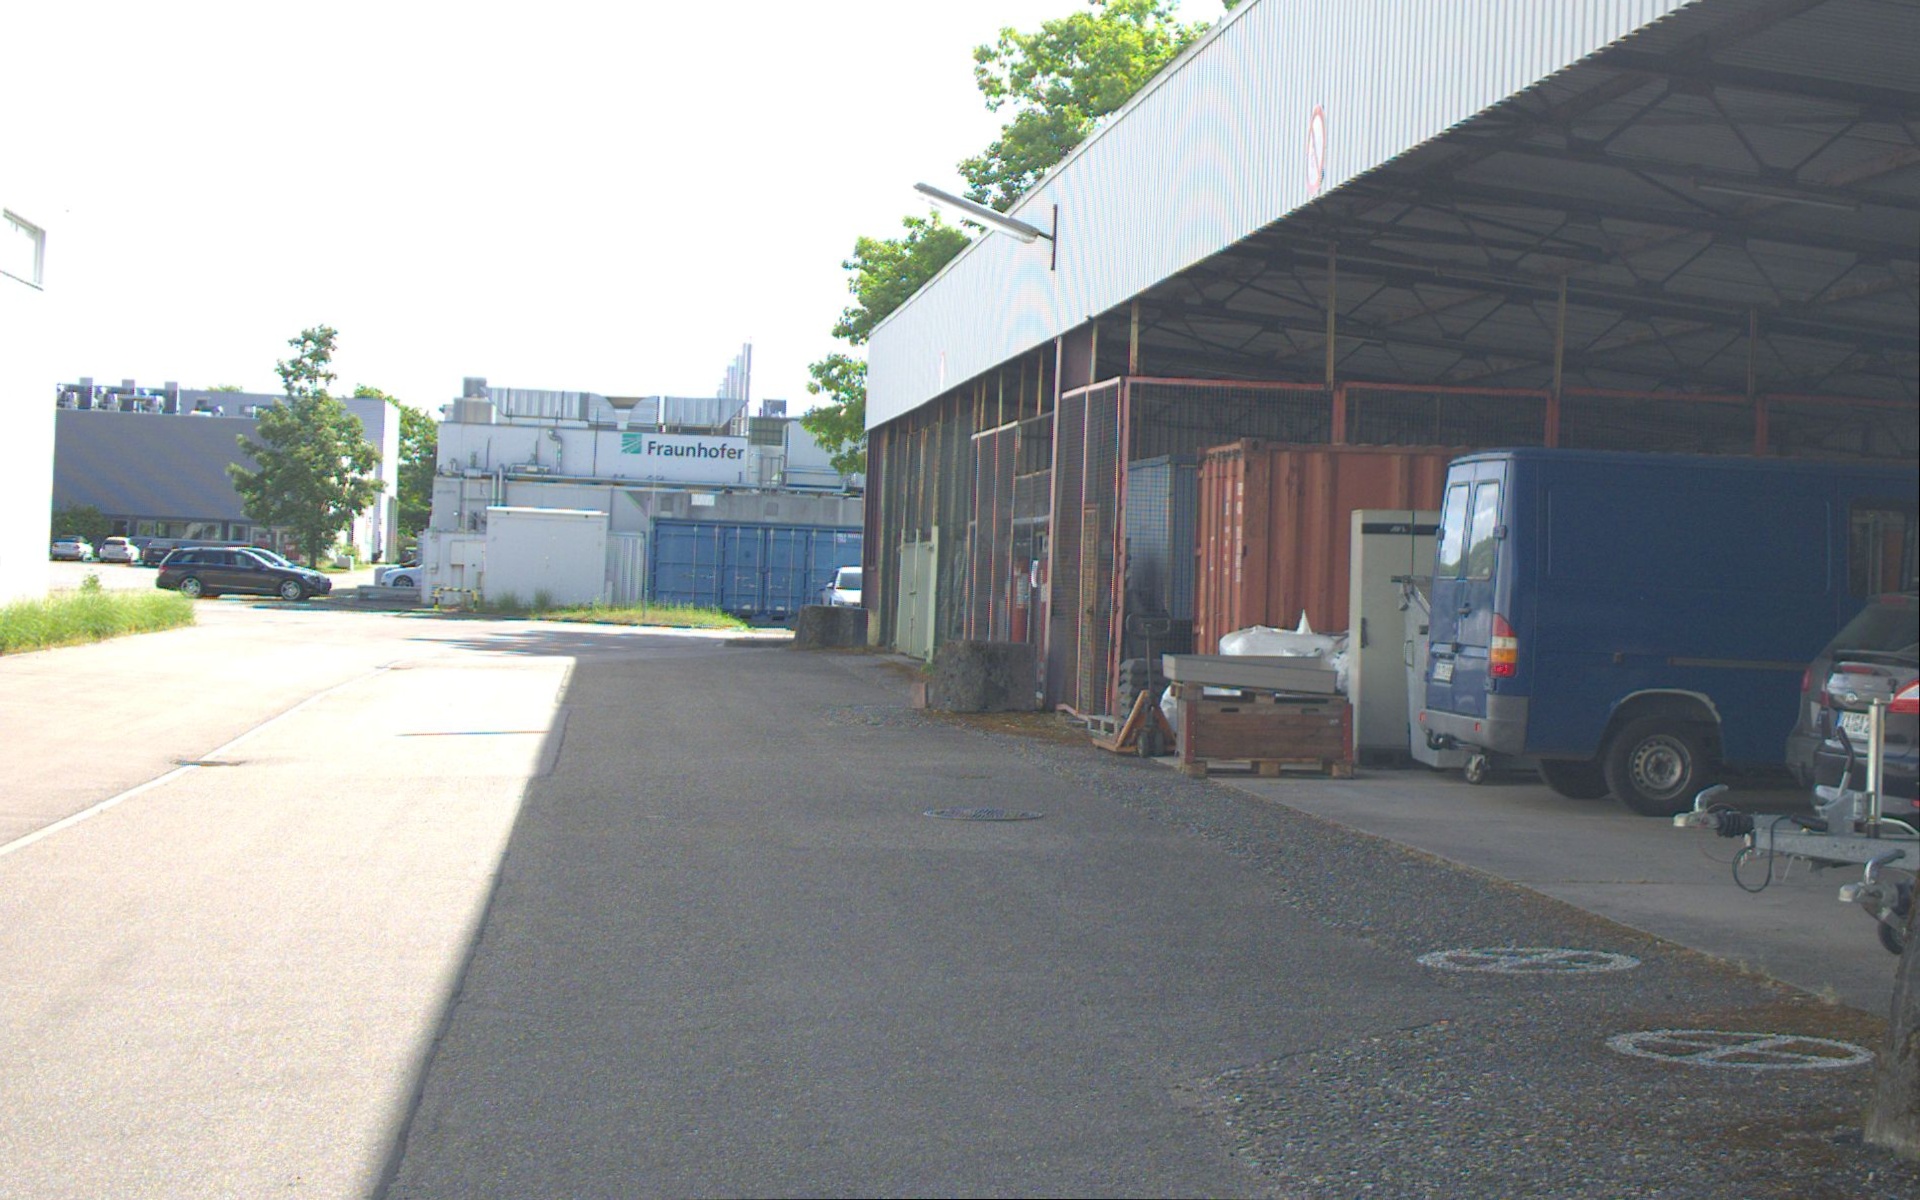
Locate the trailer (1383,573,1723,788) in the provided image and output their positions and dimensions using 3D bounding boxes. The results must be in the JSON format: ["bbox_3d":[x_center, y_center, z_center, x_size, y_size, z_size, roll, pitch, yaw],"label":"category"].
[{"bbox_3d":[4.291,0.571,25.096,2.094,1.457,1.641,2,0,-3],"label":"trailer"}]

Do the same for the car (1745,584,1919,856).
[{"bbox_3d":[6.763,0.663,19.511,4.106,1.449,1.851,1,0,-6],"label":"car"}]

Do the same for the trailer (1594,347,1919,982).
[{"bbox_3d":[4.990,0.252,13.644,4.541,2.327,1.689,1,1,-5],"label":"trailer"}]

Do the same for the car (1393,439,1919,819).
[{"bbox_3d":[5.688,0.214,22.615,5.215,2.289,2.084,2,0,-7],"label":"car"}]

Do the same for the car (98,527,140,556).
[{"bbox_3d":[-47.000,-3.269,192.233,1.877,1.532,4.036,1,0,-8],"label":"car"}]

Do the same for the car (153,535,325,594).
[{"bbox_3d":[-20.403,-0.993,97.396,4.529,1.438,1.987,2,-1,-6],"label":"car"}]

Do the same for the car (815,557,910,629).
[{"bbox_3d":[-2.481,-0.191,86.549,1.980,1.588,4.341,3,2,-6],"label":"car"}]

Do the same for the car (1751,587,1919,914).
[{"bbox_3d":[6.203,0.686,16.381,4.343,1.428,1.865,1,0,-9],"label":"car"}]

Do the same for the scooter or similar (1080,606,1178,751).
[{"bbox_3d":[1.368,0.626,27.997,0.520,1.131,1.593,2,0,-6],"label":"scooter or similar"}]

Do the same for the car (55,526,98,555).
[{"bbox_3d":[-49.292,-3.298,191.778,1.877,1.532,4.036,1,0,-8],"label":"car"}]

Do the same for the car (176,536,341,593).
[{"bbox_3d":[-20.511,-1.028,100.661,4.529,1.438,1.904,2,-1,-6],"label":"car"}]

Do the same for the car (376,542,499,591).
[{"bbox_3d":[-19.050,-1.223,125.426,4.278,1.564,1.987,2,-1,-6],"label":"car"}]

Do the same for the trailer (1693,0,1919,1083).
[{"bbox_3d":[7.886,-0.172,11.393,10.291,3.284,2.676,1,1,-5],"label":"trailer"}]
